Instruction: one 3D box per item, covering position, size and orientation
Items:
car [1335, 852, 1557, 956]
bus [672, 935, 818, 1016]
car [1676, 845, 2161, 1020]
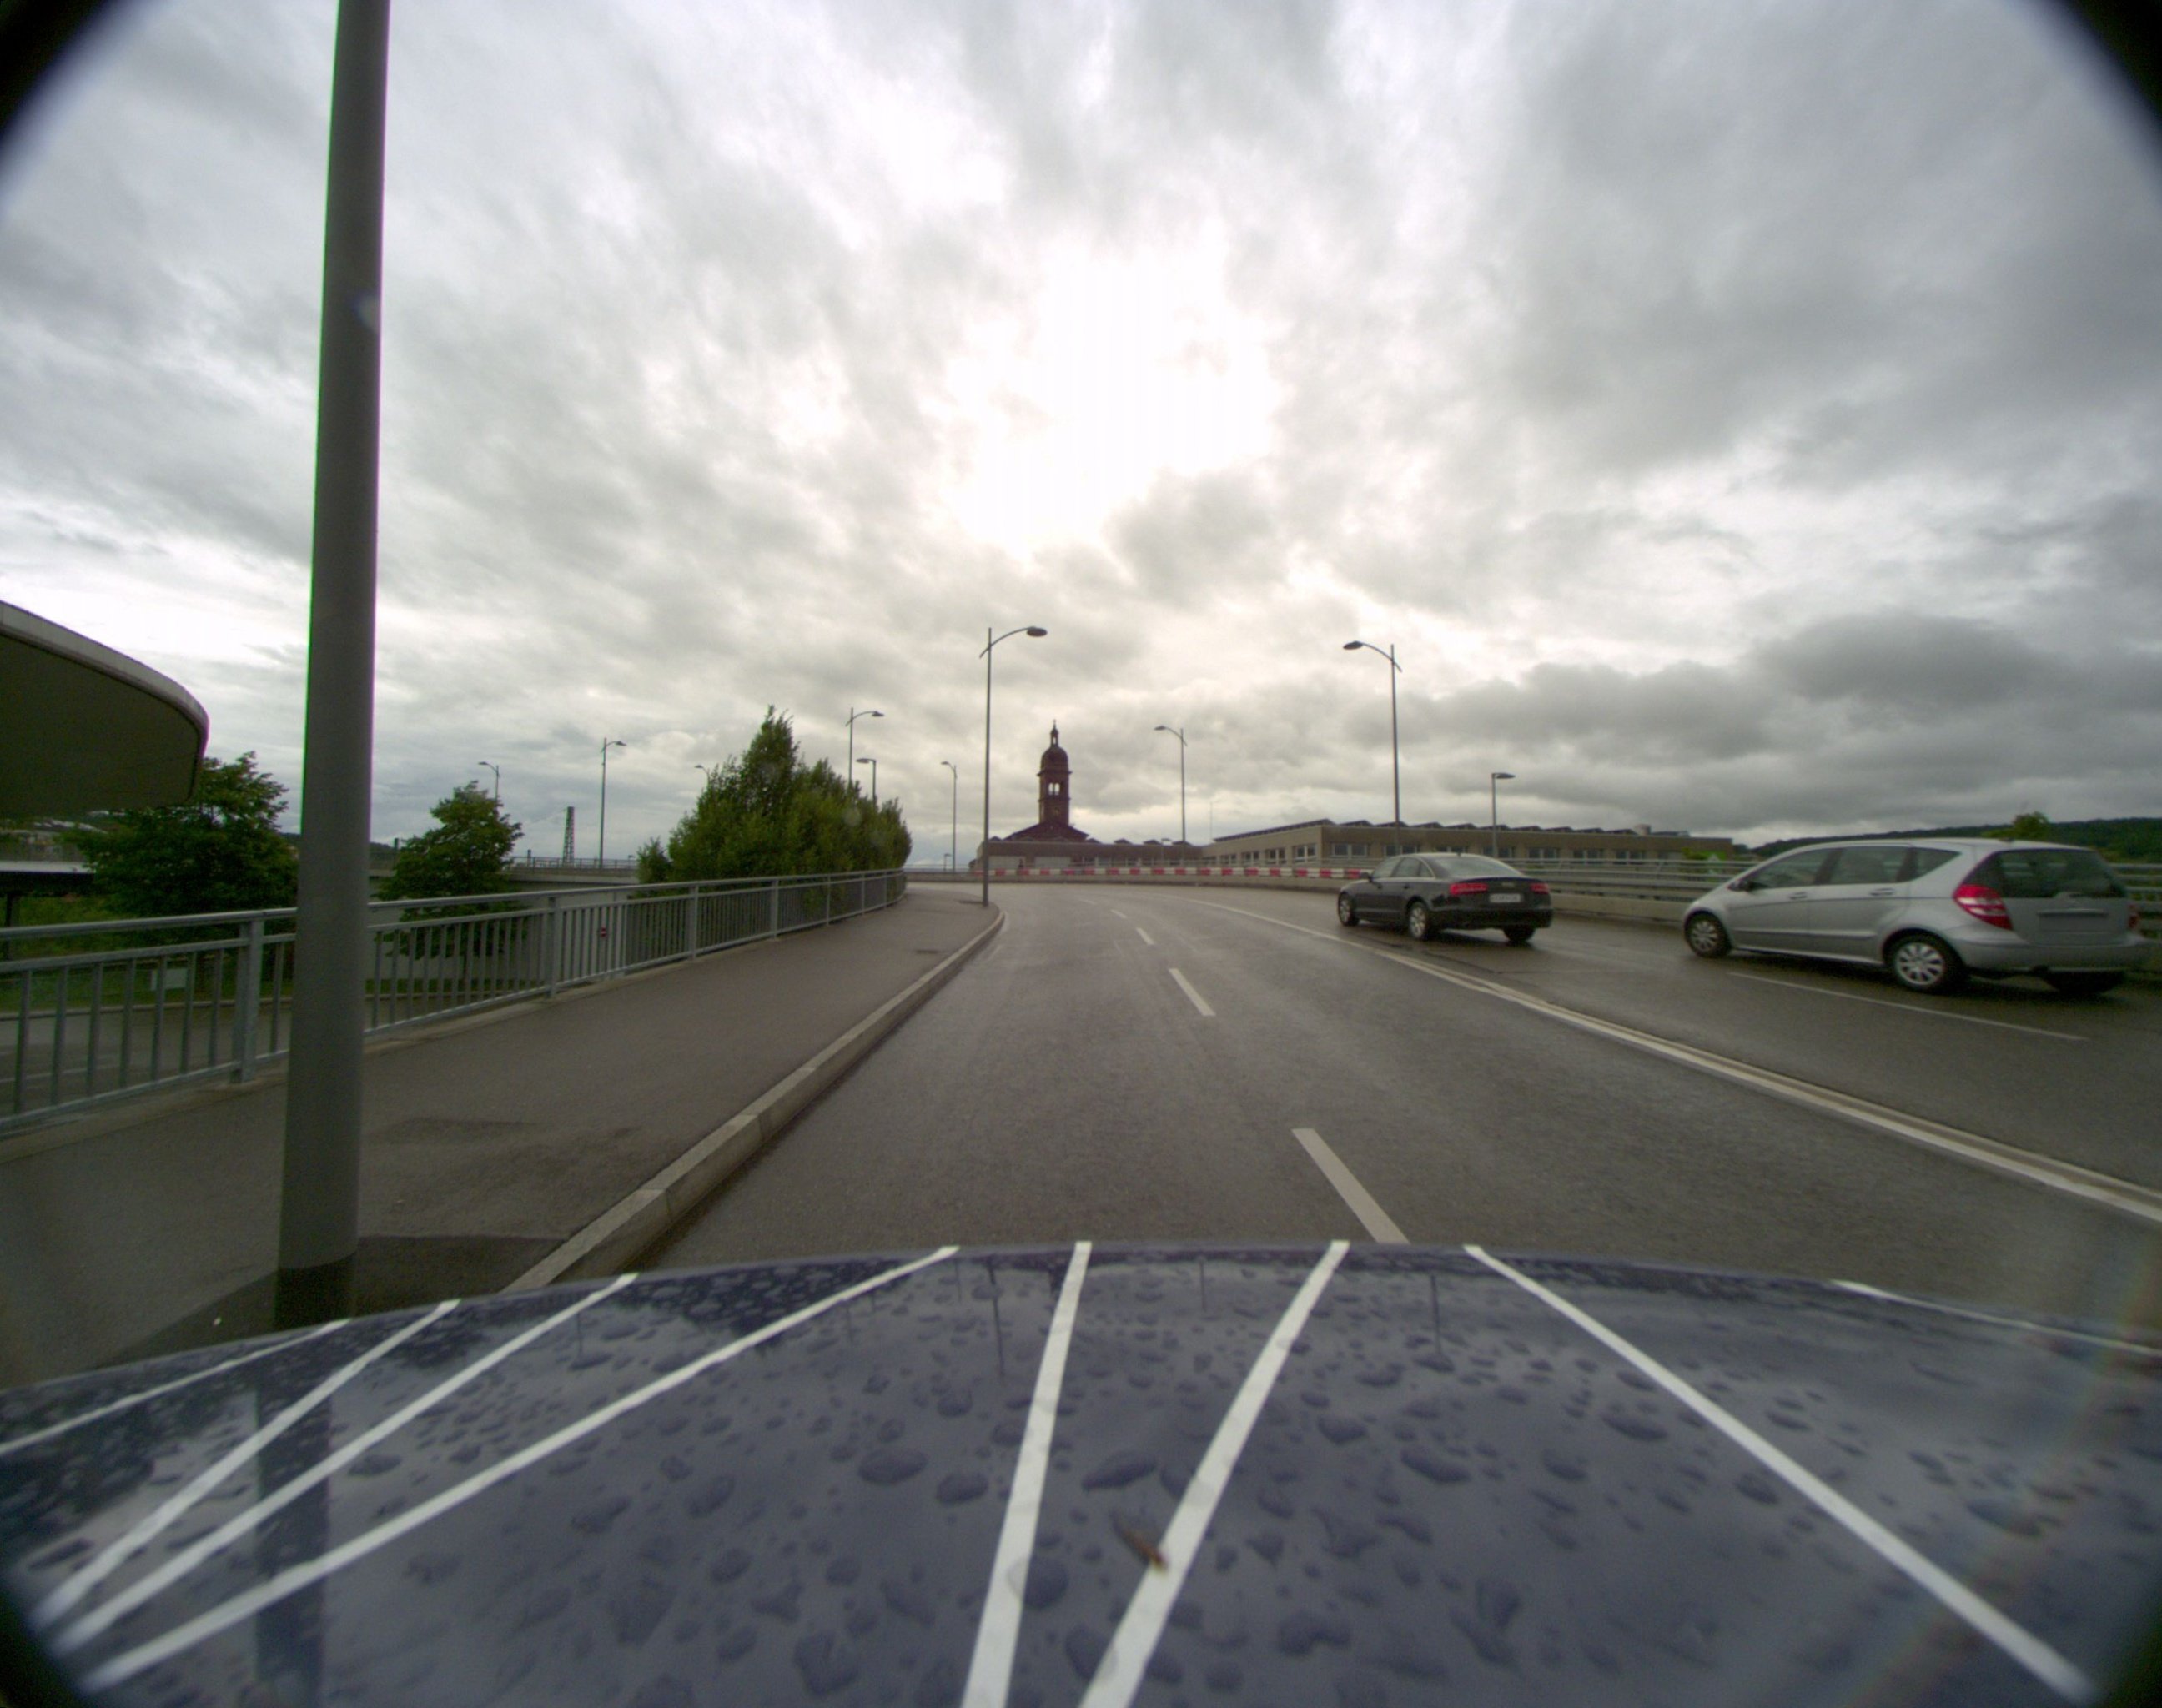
[{"bbox_3d":[6.100,0.736,13.379,1.672,1.482,4.457,0,1,-1],"label":"car"},{"bbox_3d":[-21.956,7.834,50.909,2.794,3.238,12.146,-2,1,8],"label":"bus"},{"bbox_3d":[9.206,0.706,8.828,1.649,1.599,3.709,0,1,0],"label":"car"}]
